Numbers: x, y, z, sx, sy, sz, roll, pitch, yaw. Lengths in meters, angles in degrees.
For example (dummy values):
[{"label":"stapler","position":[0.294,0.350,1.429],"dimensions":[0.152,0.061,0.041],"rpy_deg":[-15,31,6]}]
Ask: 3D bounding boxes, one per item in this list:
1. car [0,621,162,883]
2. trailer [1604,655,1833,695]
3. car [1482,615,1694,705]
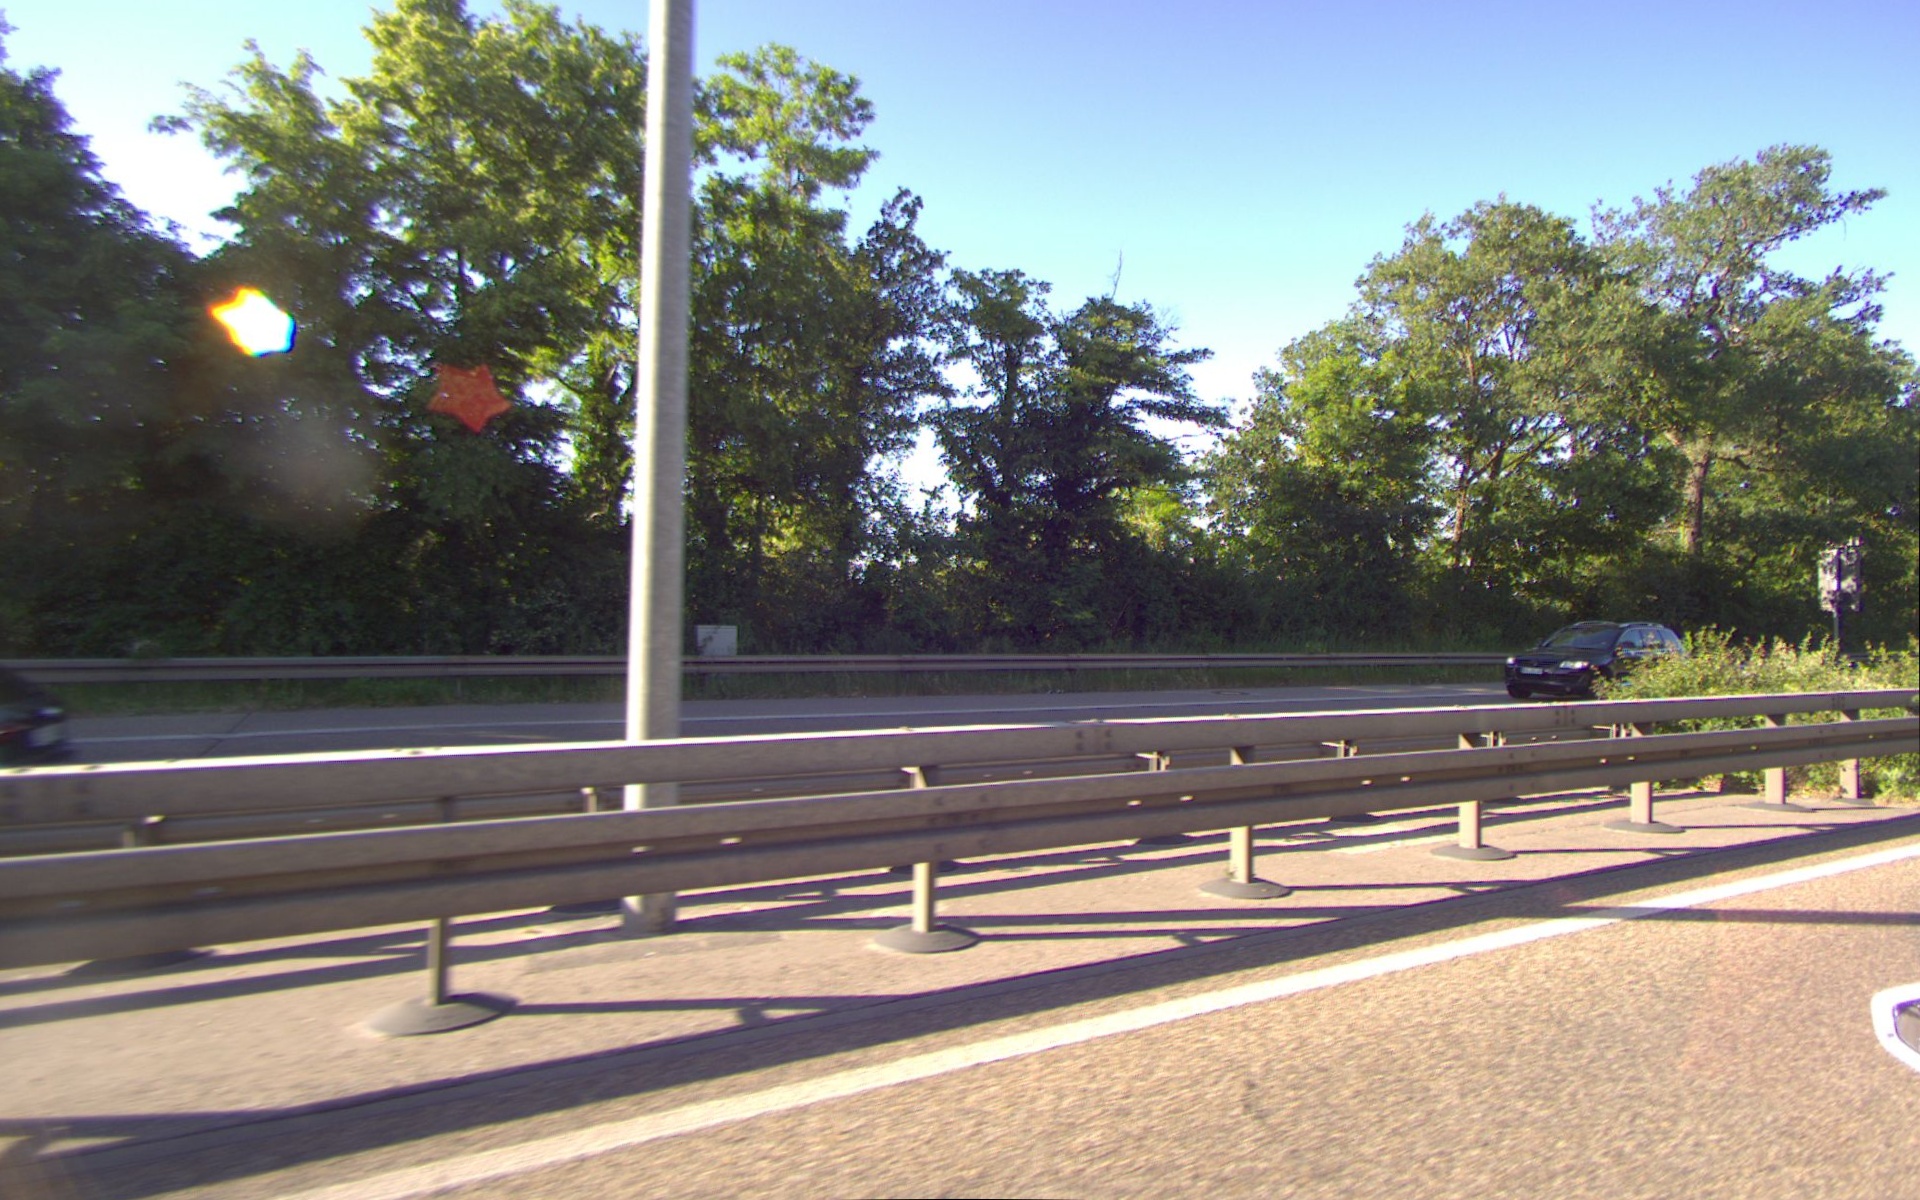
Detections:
[{"label":"car","position":[-7.876,0.877,5.795],"dimensions":[4.818,1.486,1.952],"rpy_deg":[1,0,-30]},{"label":"trailer","position":[18.853,1.801,24.870],"dimensions":[6.255,0.750,2.248],"rpy_deg":[1,-1,-29]},{"label":"car","position":[13.866,1.264,22.137],"dimensions":[4.687,1.747,1.952],"rpy_deg":[1,0,-30]}]
